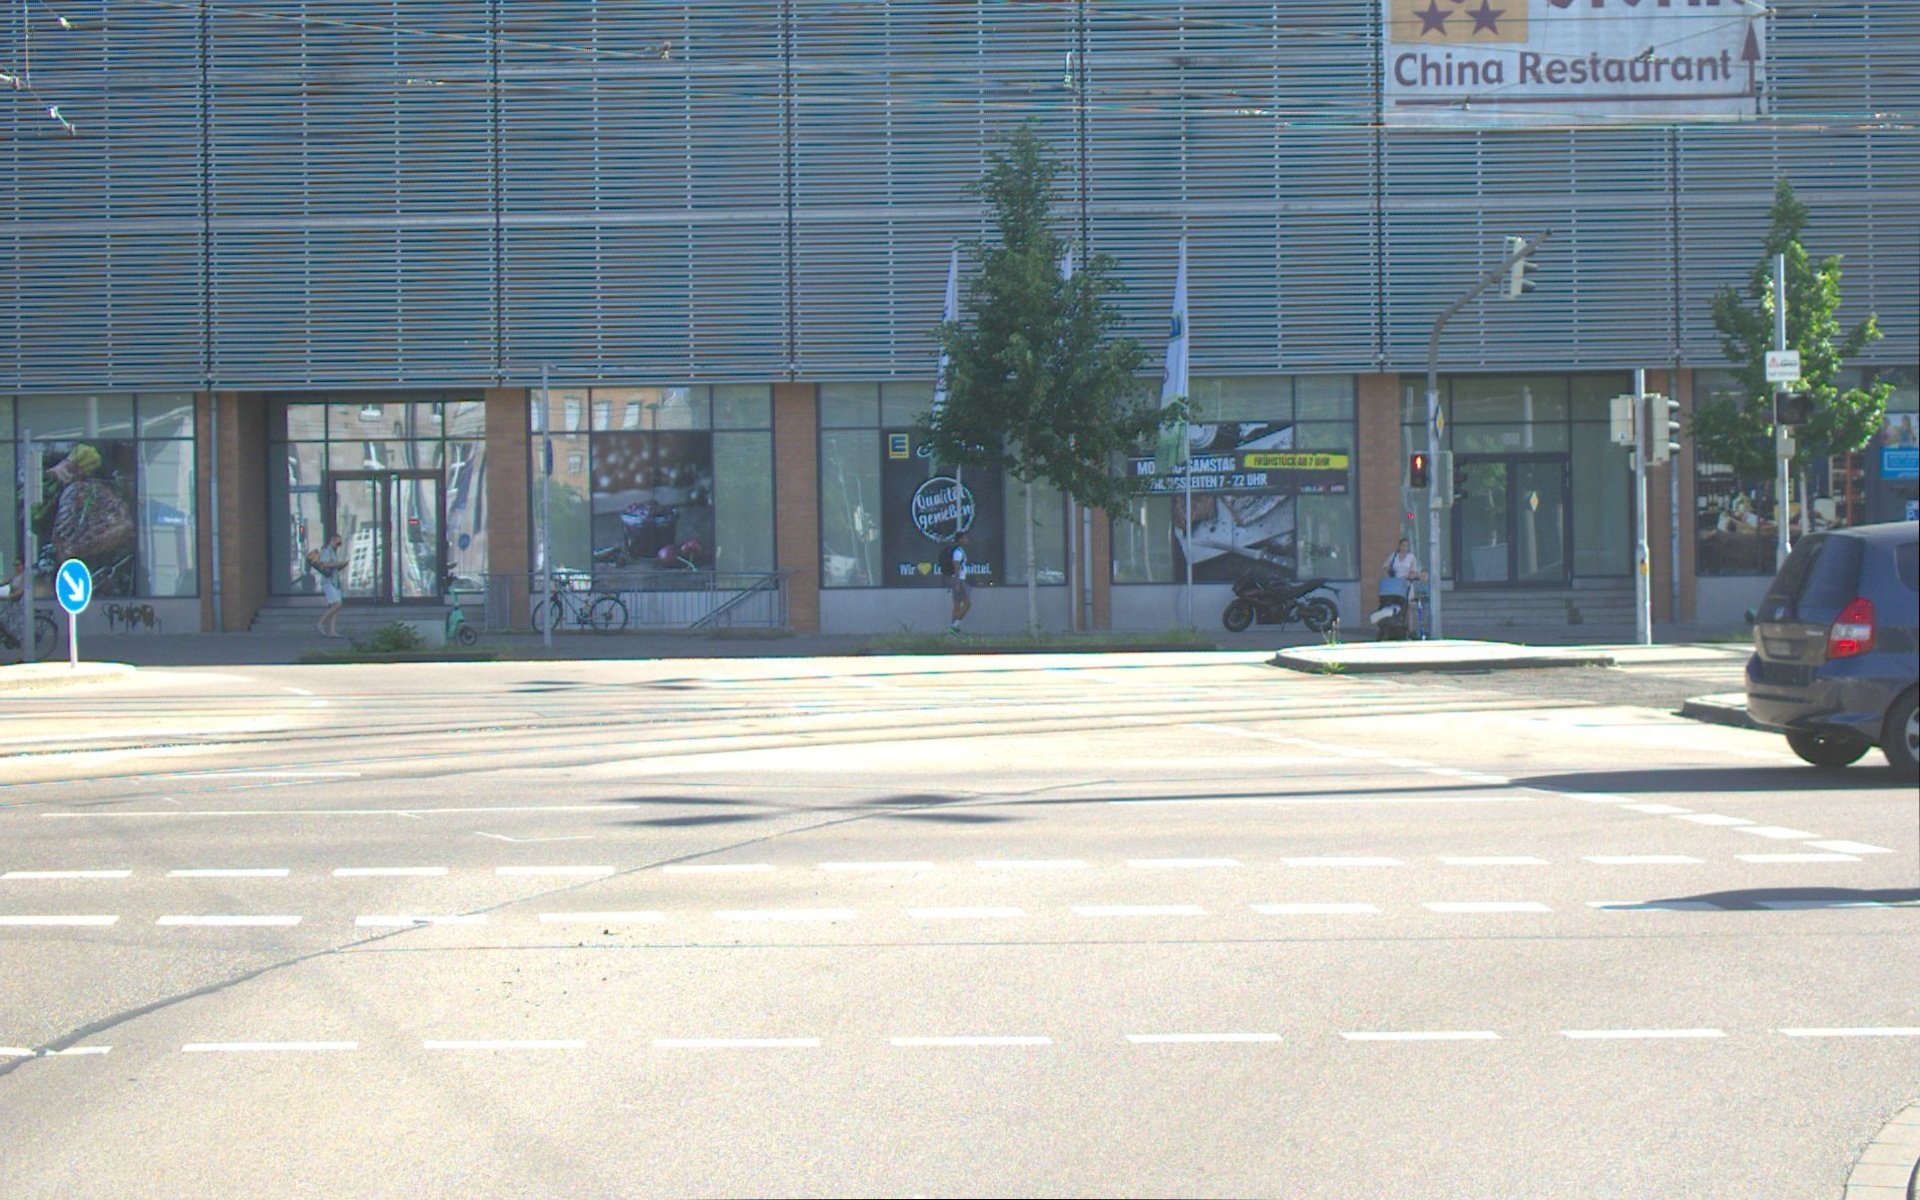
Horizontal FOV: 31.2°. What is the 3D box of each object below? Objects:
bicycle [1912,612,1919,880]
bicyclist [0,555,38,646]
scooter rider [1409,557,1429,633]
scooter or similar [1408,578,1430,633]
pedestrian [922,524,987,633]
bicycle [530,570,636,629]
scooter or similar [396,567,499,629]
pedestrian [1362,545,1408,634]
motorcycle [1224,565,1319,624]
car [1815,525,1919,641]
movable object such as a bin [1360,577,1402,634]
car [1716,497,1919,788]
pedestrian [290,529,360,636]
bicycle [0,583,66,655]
[{"bbox_3d":[5.041,0.631,14.468,1.900,1.133,0.581,1,0,-6],"label":"bicycle"},{"bbox_3d":[-15.276,0.005,54.785,0.675,1.422,0.847,1,3,43],"label":"bicyclist"},{"bbox_3d":[7.348,-0.083,55.033,0.288,1.196,0.385,1,0,10],"label":"scooter rider"},{"bbox_3d":[7.354,0.080,55.095,0.295,0.870,1.003,1,0,10],"label":"scooter or similar"},{"bbox_3d":[-0.091,-0.378,59.362,1.012,1.822,1.035,-2,1,3],"label":"pedestrian"},{"bbox_3d":[-6.646,-0.012,60.546,1.815,0.986,0.558,-1,2,-10],"label":"bicycle"},{"bbox_3d":[-9.075,-0.042,60.929,1.792,1.062,0.613,0,2,-8],"label":"scooter or similar"},{"bbox_3d":[6.834,-0.172,55.272,0.655,1.409,0.849,1,0,10],"label":"pedestrian"},{"bbox_3d":[5.498,-0.097,60.639,1.640,1.001,0.446,1,1,6],"label":"motorcycle"},{"bbox_3d":[13.757,-0.139,45.849,4.146,1.464,1.841,3,0,-1],"label":"car"},{"bbox_3d":[6.716,0.083,54.811,0.613,0.901,0.968,1,0,10],"label":"movable object such as a bin"},{"bbox_3d":[6.545,0.211,20.393,3.689,1.640,1.647,0,1,-6],"label":"car"},{"bbox_3d":[-11.095,-0.316,60.082,0.950,1.822,0.846,-2,1,5],"label":"pedestrian"},{"bbox_3d":[-15.242,0.314,54.865,0.568,1.082,1.859,1,3,43],"label":"bicycle"}]
